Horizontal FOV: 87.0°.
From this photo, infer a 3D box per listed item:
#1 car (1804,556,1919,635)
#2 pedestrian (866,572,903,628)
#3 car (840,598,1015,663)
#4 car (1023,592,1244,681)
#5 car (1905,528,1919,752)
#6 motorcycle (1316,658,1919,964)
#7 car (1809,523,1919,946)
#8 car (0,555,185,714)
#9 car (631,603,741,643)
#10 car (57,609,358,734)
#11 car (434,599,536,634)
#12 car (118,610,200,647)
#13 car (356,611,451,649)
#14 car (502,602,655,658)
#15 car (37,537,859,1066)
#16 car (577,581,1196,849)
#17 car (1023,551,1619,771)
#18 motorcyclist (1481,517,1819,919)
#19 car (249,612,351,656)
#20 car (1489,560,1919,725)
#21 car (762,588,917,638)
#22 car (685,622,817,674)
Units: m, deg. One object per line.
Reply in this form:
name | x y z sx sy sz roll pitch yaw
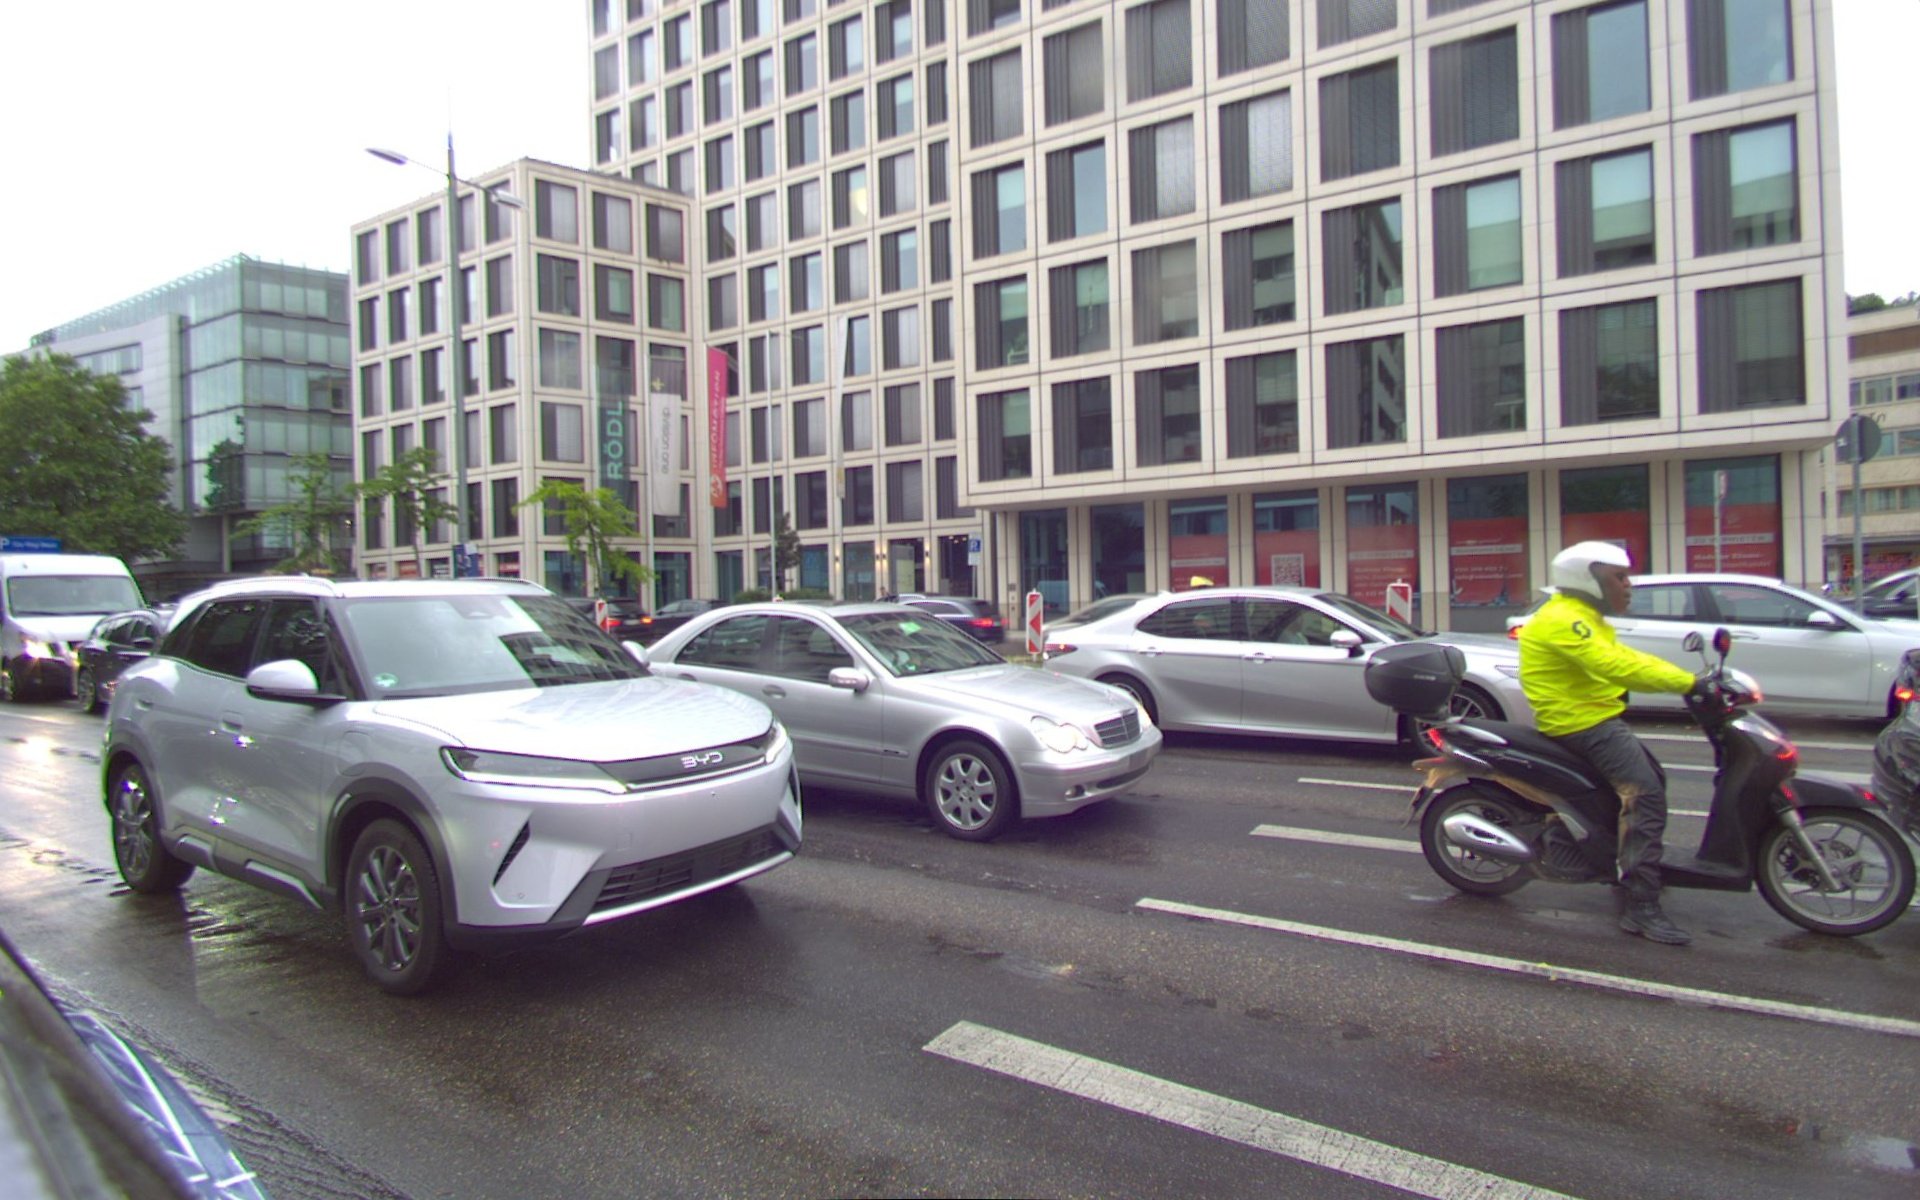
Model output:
car | 18.515 -0.086 18.886 3.937 1.435 1.687 -1 -1 28
pedestrian | -2.393 -0.003 31.997 0.963 1.747 0.608 -1 1 29
car | -0.836 0.756 25.654 4.172 1.530 1.687 -1 -1 29
car | 3.416 0.671 20.001 3.979 1.586 1.688 -1 1 27
car | 8.442 0.293 5.885 3.983 1.628 1.721 -1 1 30
motorcycle | 2.853 0.801 4.453 2.285 0.997 0.935 -1 1 30
car | 5.935 0.446 3.046 4.990 1.526 1.871 0 1 35
car | -16.093 0.501 17.898 5.708 2.403 2.234 0 1 36
car | -10.319 0.860 38.032 3.937 1.435 1.687 -1 -1 28
car | -10.388 0.870 13.911 4.227 1.412 1.886 -1 1 32
car | -20.280 0.735 43.172 4.354 1.435 1.687 -1 -1 28
car | -47.391 1.645 59.859 4.892 2.029 1.981 -1 1 28
car | -23.141 1.248 42.076 3.668 1.530 1.688 -1 -1 26
car | -10.552 0.821 27.928 4.121 1.435 1.687 -1 -1 28
car | -2.709 0.627 5.075 4.157 1.673 1.794 0 1 33
car | -0.691 0.618 7.368 4.372 1.414 1.718 0 1 34
car | 3.093 0.411 9.177 4.790 1.532 1.815 0 1 35
motorcyclist | 2.915 0.429 4.418 1.096 1.486 0.935 -1 1 30
car | -24.224 1.242 37.150 3.538 1.530 1.687 -1 -1 28
car | 7.539 0.336 9.913 3.984 1.383 1.768 0 1 35
car | -4.061 0.459 33.811 5.160 1.581 1.687 -1 -1 29
car | -6.648 1.497 32.139 3.953 1.530 1.687 -1 -1 28
